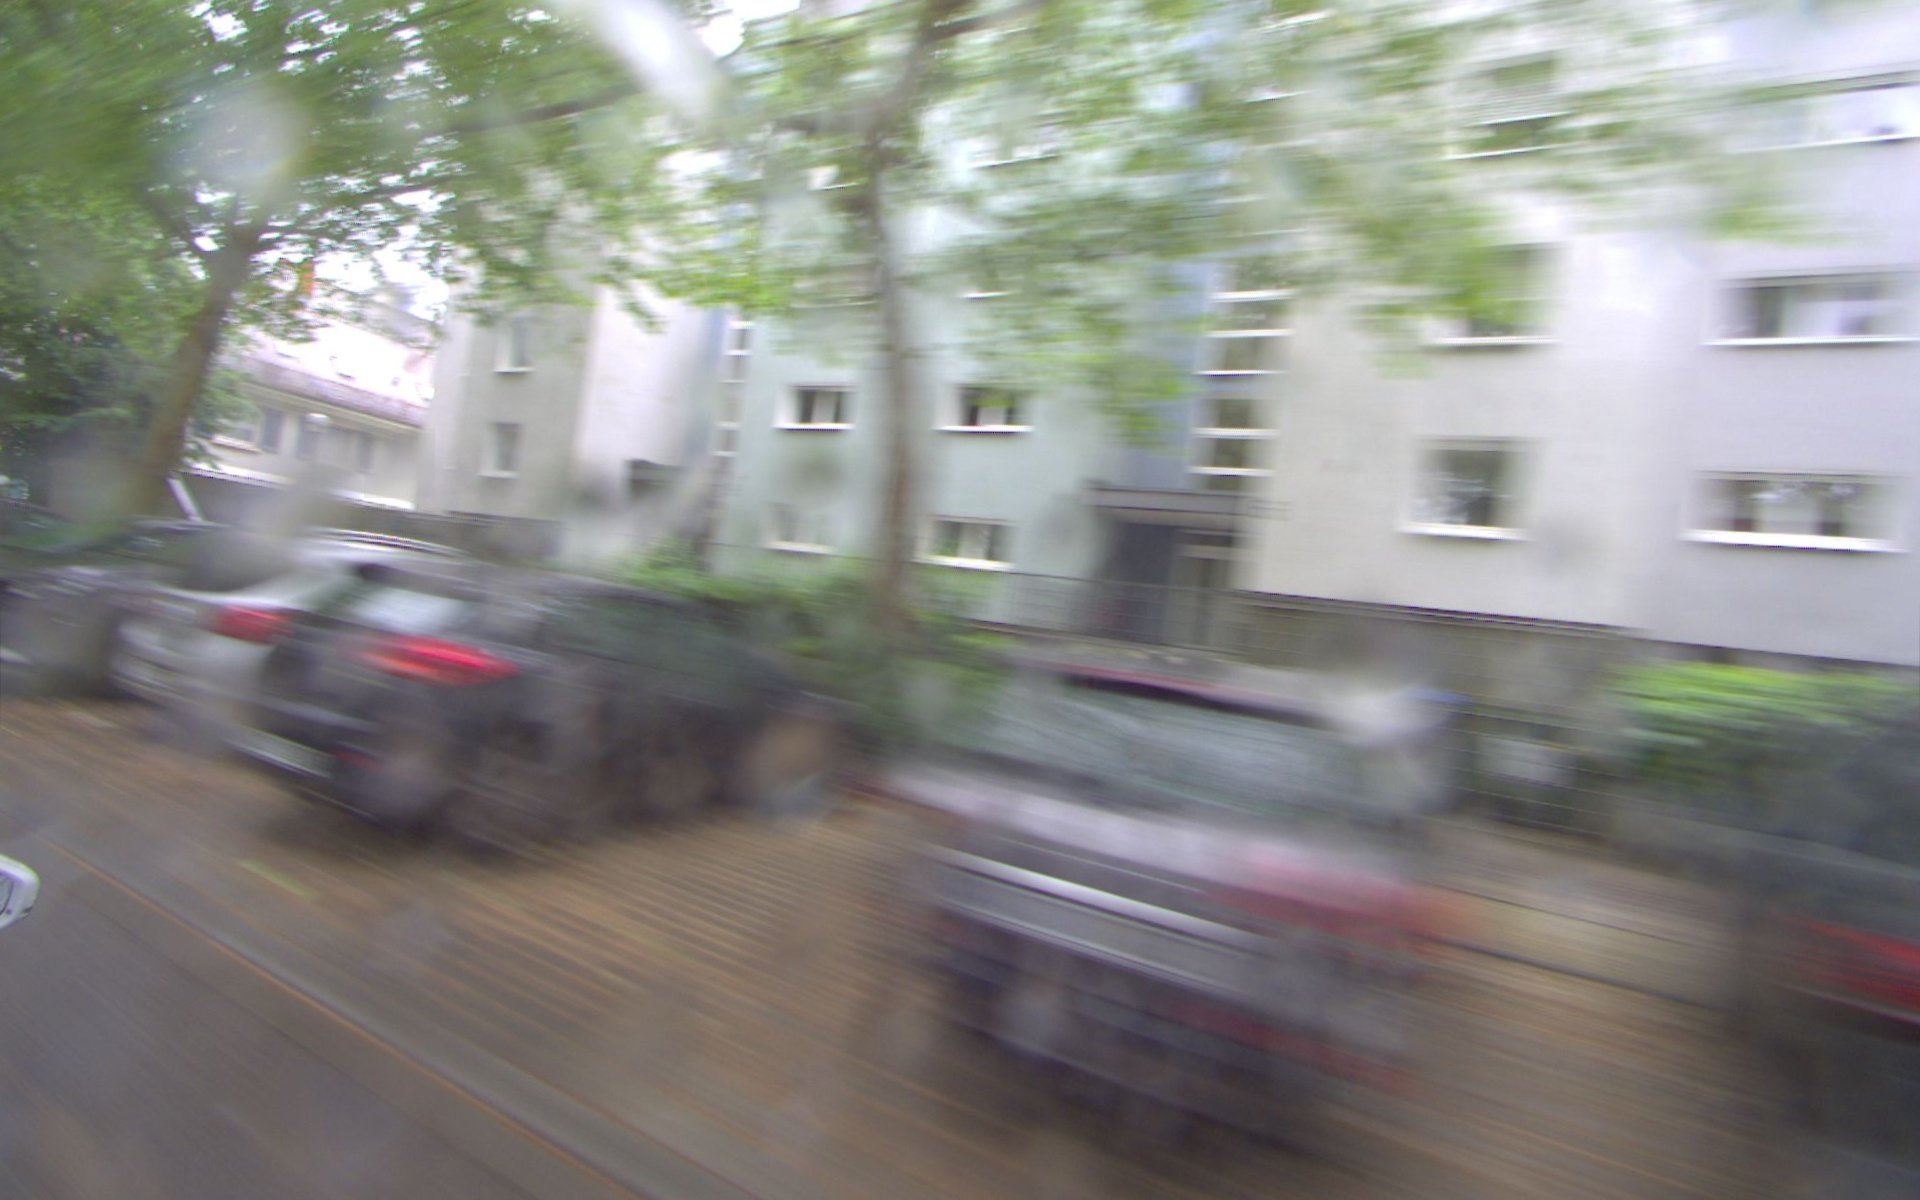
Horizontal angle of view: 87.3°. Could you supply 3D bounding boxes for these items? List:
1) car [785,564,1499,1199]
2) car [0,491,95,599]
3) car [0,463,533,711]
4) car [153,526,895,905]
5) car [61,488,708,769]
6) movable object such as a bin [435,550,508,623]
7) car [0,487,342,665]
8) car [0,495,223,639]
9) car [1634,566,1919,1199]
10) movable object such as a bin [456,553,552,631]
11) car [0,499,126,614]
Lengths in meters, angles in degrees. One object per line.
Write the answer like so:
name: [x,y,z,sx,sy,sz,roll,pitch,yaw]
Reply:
car: [1.260,0.991,4.411,1.604,1.554,3.998,7,-3,31]
car: [-16.334,-1.092,15.610,1.651,1.597,3.995,7,-2,31]
car: [-6.519,0.010,9.381,1.881,1.674,4.221,7,-2,31]
car: [-2.254,0.585,6.361,1.656,1.459,4.043,7,0,28]
car: [-4.288,0.353,8.302,1.717,1.601,4.222,7,-2,29]
movable object such as a bin: [-10.943,-0.304,22.539,1.095,1.455,0.865,7,-1,32]
car: [-9.440,-0.277,11.051,1.750,1.547,4.053,7,-2,29]
car: [-11.952,-0.534,12.421,1.834,1.531,4.108,7,-2,32]
car: [3.476,1.187,3.205,1.788,1.781,4.350,7,-3,31]
movable object such as a bin: [-9.889,-0.169,21.826,1.323,1.455,1.206,7,-1,32]
car: [-14.241,-0.798,13.716,1.651,1.454,3.995,7,-2,31]
